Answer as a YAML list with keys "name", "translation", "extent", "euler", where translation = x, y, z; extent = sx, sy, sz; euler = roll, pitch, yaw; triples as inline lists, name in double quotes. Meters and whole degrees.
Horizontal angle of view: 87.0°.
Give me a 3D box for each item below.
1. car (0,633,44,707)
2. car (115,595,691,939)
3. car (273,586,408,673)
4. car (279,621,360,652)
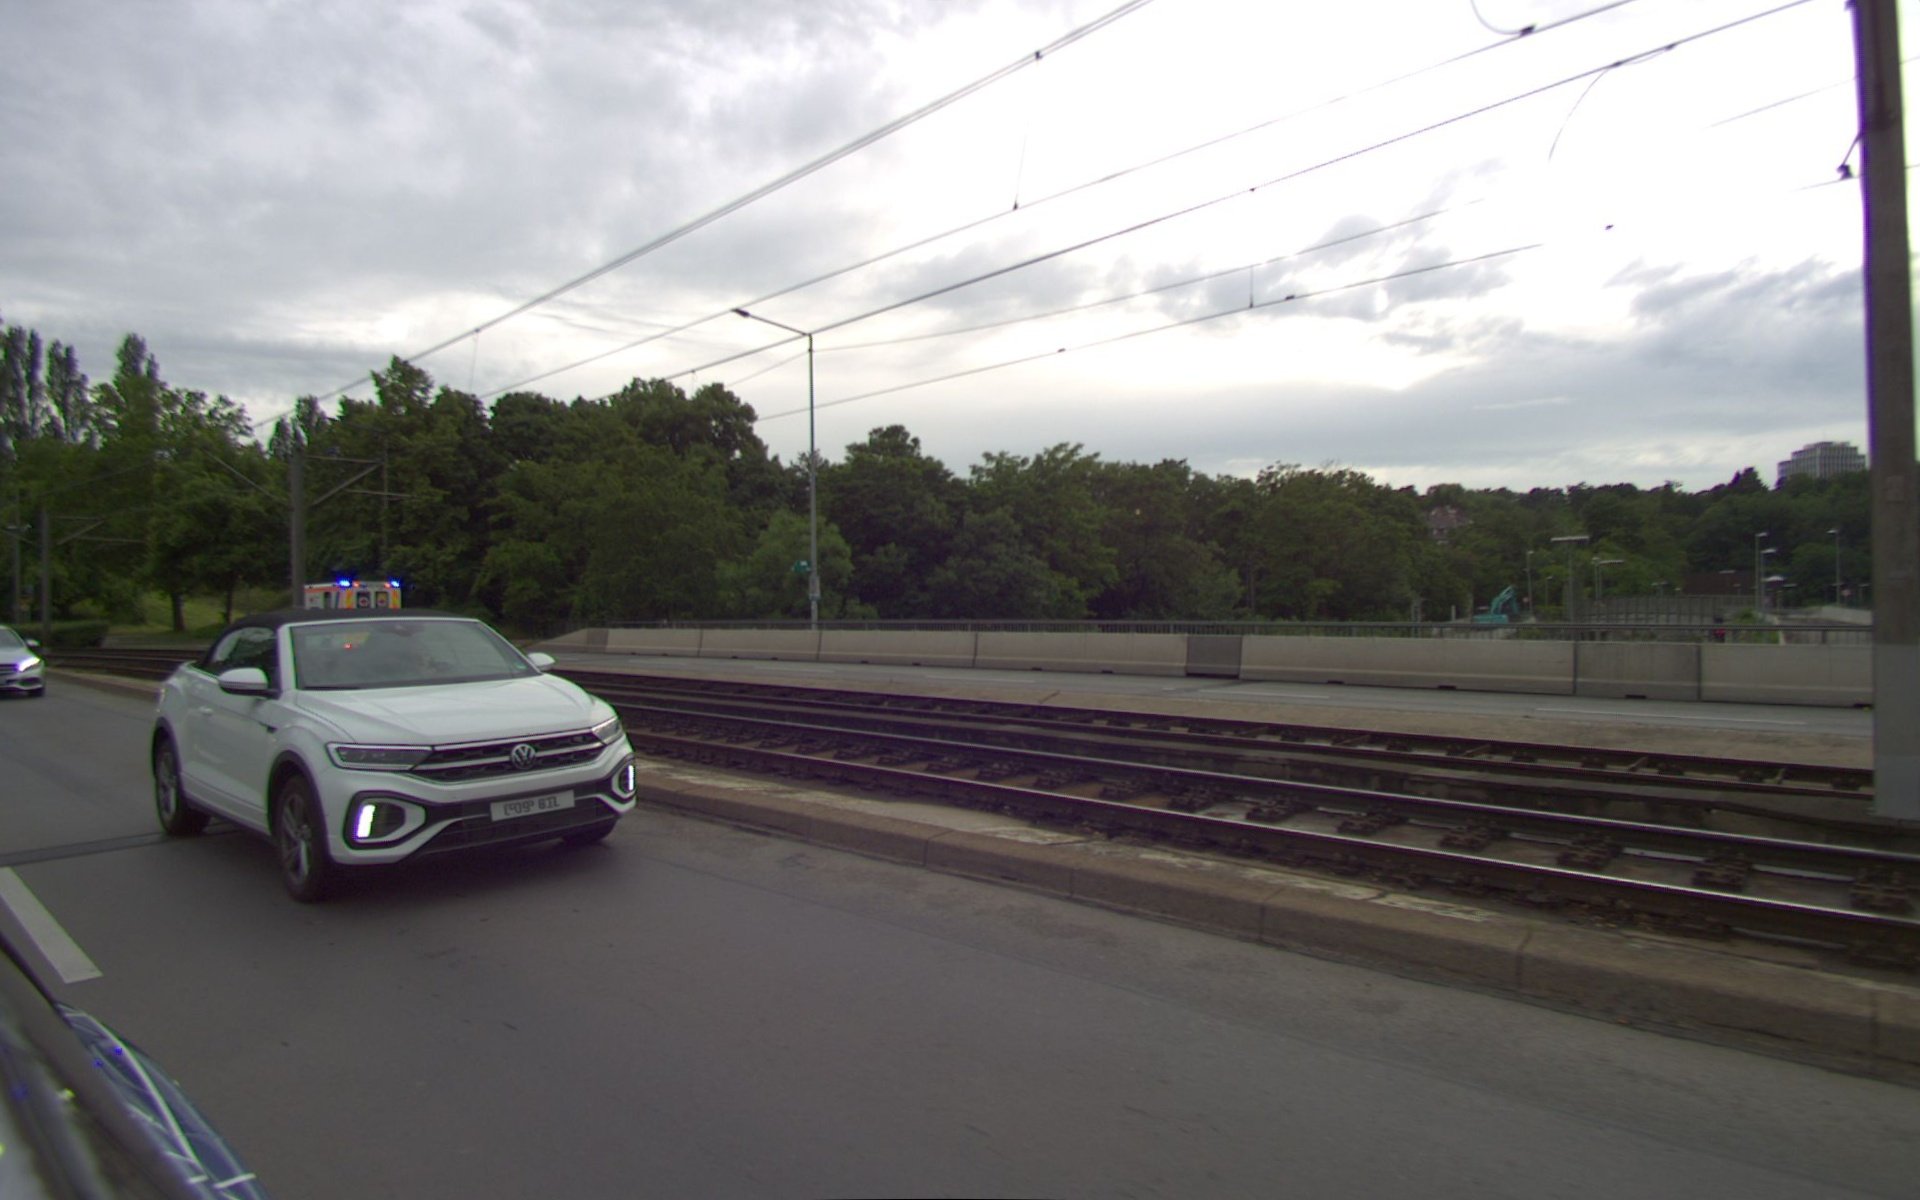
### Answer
- name: "car"
  translation: [-19.415, 1.344, 19.763]
  extent: [4.059, 1.366, 1.847]
  euler: [-2, -2, 42]
- name: "car"
  translation: [-3.936, 0.813, 6.763]
  extent: [4.536, 1.535, 1.852]
  euler: [-2, -1, 40]
- name: "car"
  translation: [-24.183, 1.106, 39.396]
  extent: [6.348, 3.139, 2.367]
  euler: [-1, 0, 38]
- name: "car"
  translation: [-31.425, 1.785, 49.586]
  extent: [4.610, 1.324, 1.820]
  euler: [-3, 0, 37]
